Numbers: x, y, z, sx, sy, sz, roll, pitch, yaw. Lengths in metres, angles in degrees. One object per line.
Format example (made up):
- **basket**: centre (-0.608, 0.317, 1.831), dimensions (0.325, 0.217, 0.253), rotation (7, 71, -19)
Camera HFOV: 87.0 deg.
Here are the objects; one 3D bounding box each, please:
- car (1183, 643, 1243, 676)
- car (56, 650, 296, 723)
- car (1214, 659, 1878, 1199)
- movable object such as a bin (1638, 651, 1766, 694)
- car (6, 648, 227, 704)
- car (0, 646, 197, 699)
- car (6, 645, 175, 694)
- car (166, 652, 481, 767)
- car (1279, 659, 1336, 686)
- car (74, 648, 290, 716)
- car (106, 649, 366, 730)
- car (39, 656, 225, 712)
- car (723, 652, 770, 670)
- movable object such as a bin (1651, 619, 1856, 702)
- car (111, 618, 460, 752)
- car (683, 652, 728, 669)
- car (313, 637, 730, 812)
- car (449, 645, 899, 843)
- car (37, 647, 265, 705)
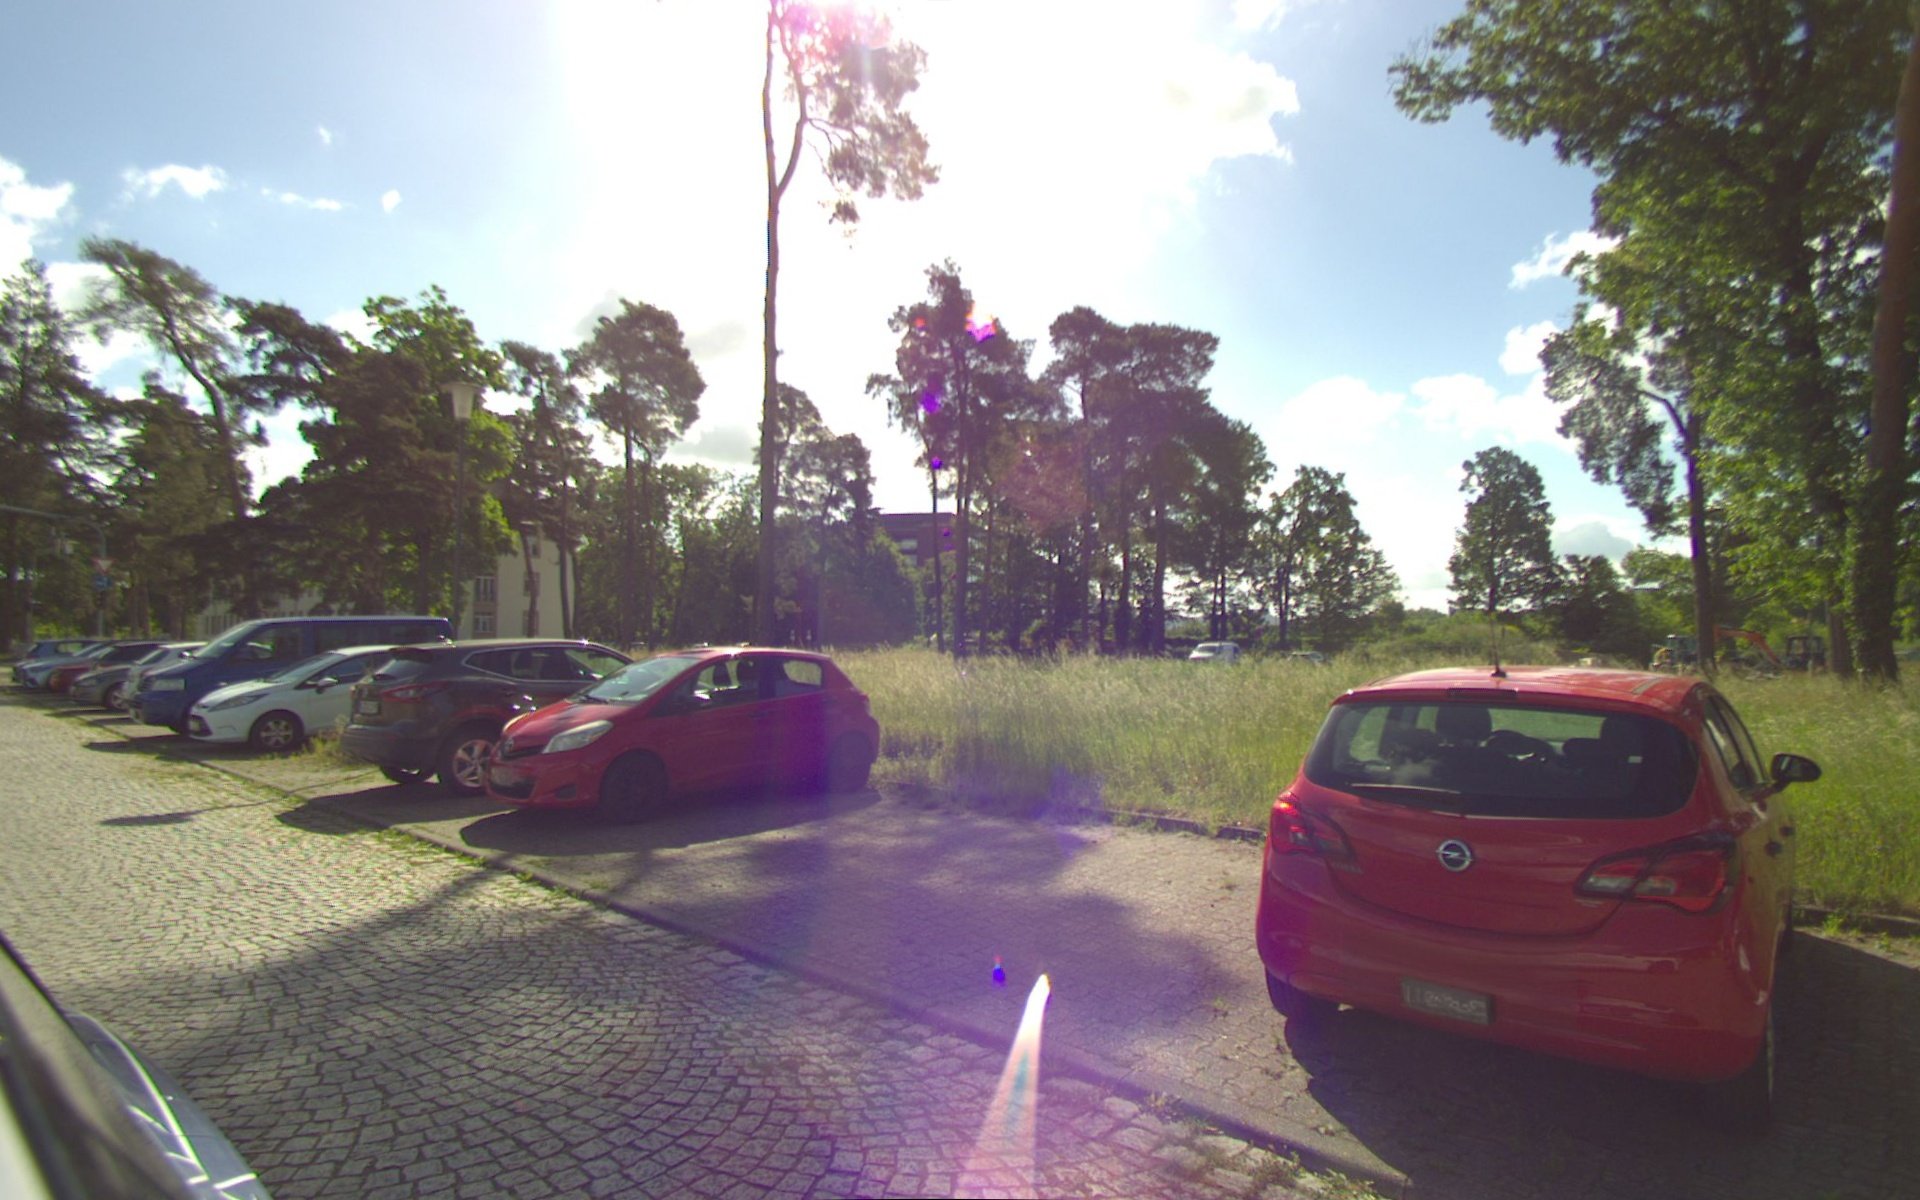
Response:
- **car**: centre (17.324, 4.077, 69.132), dimensions (1.957, 2.181, 4.792), rotation (-2, -5, 43)
- **car**: centre (-17.631, 1.868, 22.877), dimensions (1.923, 1.436, 4.032), rotation (-3, -3, 43)
- **car**: centre (2.927, 1.052, 4.733), dimensions (1.841, 1.472, 3.883), rotation (-3, -3, 40)
- **movable object such as a bin**: centre (39.756, 3.870, 54.459), dimensions (2.491, 2.142, 5.681), rotation (1, -3, -2)
- **car**: centre (-24.909, 2.174, 30.046), dimensions (1.938, 1.432, 4.812), rotation (-1, -2, 42)
- **car**: centre (-27.012, 2.219, 31.773), dimensions (1.982, 1.463, 4.536), rotation (-1, -2, 38)
- **car**: centre (-28.845, 2.275, 33.654), dimensions (1.947, 1.494, 3.985), rotation (-3, -3, 40)
- **car**: centre (-9.672, 1.578, 15.615), dimensions (1.681, 1.451, 3.778), rotation (-2, -2, 39)
- **car**: centre (22.295, 4.647, 64.861), dimensions (1.912, 1.617, 4.182), rotation (-2, -5, 43)
- **car**: centre (-19.342, 1.977, 25.291), dimensions (1.822, 1.463, 4.032), rotation (-1, -2, 43)
- **car**: centre (-15.144, 1.799, 21.339), dimensions (1.823, 1.486, 4.151), rotation (-2, -3, 42)
- **car**: centre (-21.718, 2.159, 26.629), dimensions (1.760, 1.243, 3.590), rotation (-1, -2, 43)
- **car**: centre (-20.127, 5.762, 95.486), dimensions (1.841, 1.642, 4.001), rotation (-3, -5, 44)
- **movable object such as a bin**: centre (38.145, 2.890, 49.018), dimensions (6.736, 3.760, 3.907), rotation (0, -3, 18)
- **car**: centre (-11.471, 1.332, 17.493), dimensions (2.005, 1.983, 4.667), rotation (-2, -2, 42)
- **car**: centre (-25.389, 6.053, 100.988), dimensions (1.720, 1.593, 4.050), rotation (-2, -5, 43)
- **car**: centre (-4.825, 1.252, 11.549), dimensions (1.972, 1.580, 3.913), rotation (-3, -3, 40)
- **car**: centre (-2.612, 1.211, 9.928), dimensions (1.865, 1.460, 3.883), rotation (-3, -3, 40)
- **car**: centre (-22.890, 2.101, 28.793), dimensions (1.938, 1.432, 4.812), rotation (-2, -3, 42)
